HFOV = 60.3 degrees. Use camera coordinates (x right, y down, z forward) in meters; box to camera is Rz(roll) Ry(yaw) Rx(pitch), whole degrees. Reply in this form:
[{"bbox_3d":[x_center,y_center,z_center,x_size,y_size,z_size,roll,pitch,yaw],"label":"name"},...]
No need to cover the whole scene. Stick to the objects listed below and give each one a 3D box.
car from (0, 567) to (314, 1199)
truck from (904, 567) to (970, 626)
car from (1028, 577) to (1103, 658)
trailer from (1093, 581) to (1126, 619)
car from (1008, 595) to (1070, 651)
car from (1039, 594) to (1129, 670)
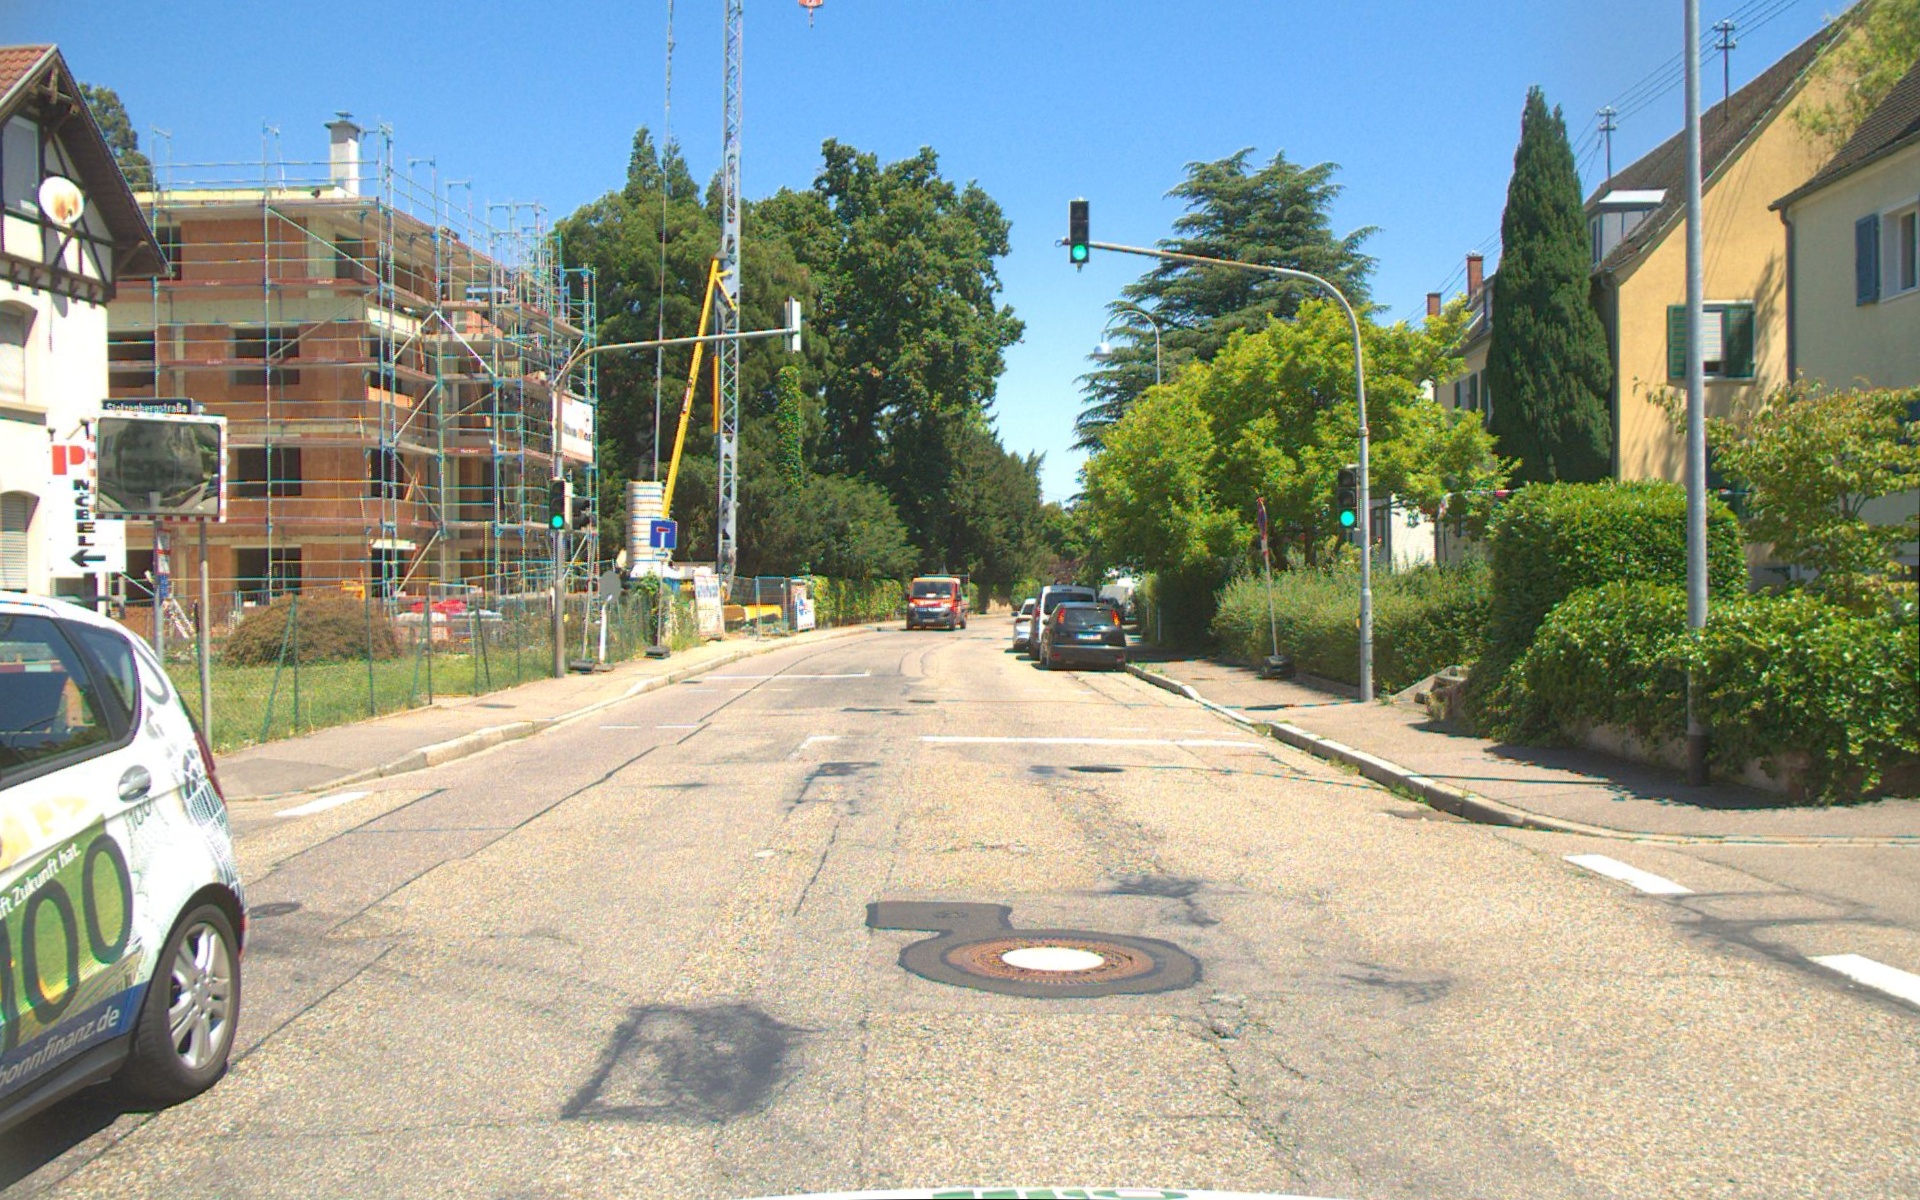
[{"bbox_3d":[-3.106,0.738,3.947,1.619,1.589,3.884,-2,0,-1],"label":"car"},{"bbox_3d":[-0.914,-0.164,70.428,2.082,2.379,6.439,1,0,5],"label":"truck"},{"bbox_3d":[2.564,0.414,40.987,1.627,1.834,4.204,3,0,2],"label":"car"},{"bbox_3d":[8.615,-0.043,95.268,1.644,2.104,3.711,2,1,8],"label":"trailer"},{"bbox_3d":[2.247,0.609,46.464,1.627,1.460,4.130,2,0,4],"label":"car"},{"bbox_3d":[2.668,0.661,36.306,1.595,1.488,4.016,3,0,0],"label":"car"}]
